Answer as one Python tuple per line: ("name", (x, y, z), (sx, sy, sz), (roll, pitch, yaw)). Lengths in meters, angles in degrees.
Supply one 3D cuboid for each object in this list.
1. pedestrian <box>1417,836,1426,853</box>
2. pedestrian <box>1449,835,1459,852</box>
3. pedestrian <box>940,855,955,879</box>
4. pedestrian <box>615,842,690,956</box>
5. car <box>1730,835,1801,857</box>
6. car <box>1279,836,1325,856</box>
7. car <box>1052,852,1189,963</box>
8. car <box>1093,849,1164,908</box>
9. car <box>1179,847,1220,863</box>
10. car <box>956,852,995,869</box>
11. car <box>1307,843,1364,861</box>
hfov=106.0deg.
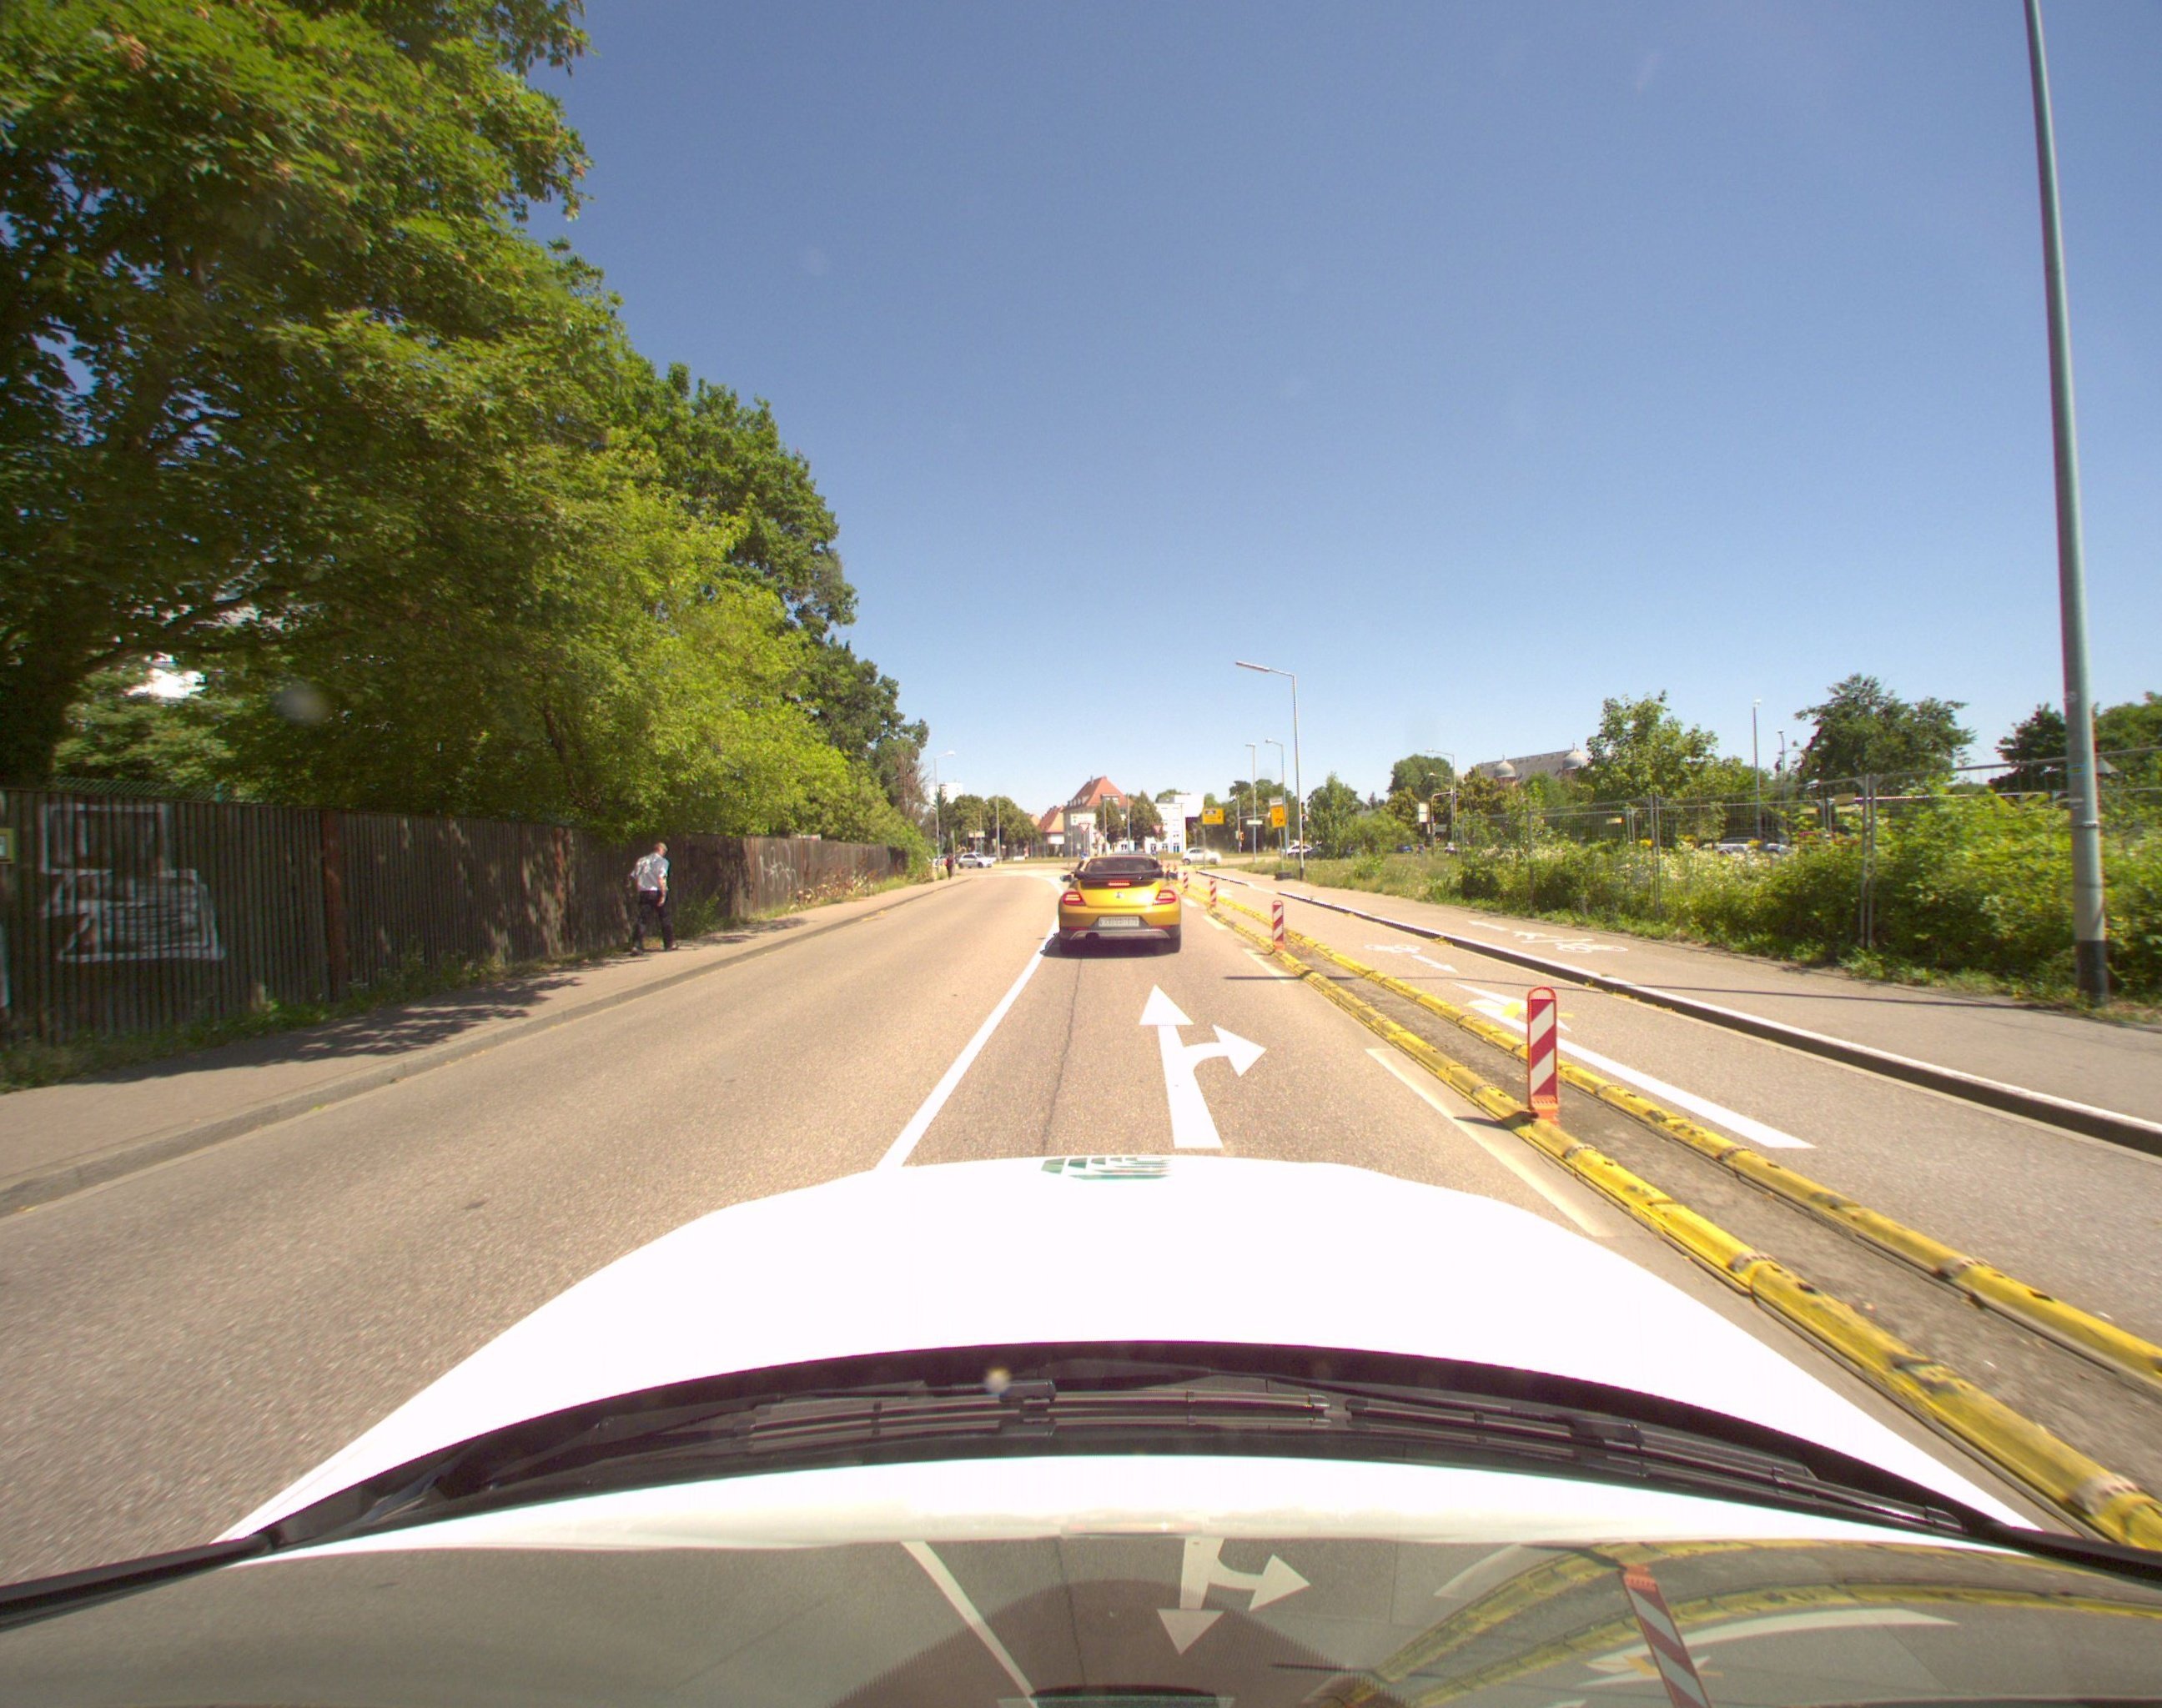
("pedestrian", (26.550, -0.731, 63.497), (0.597, 1.311, 0.549), (-2, 0, 23))
("pedestrian", (28.329, -0.803, 61.879), (0.539, 1.311, 0.608), (-2, 0, 34))
("pedestrian", (-8.214, 0.777, 50.108), (0.720, 1.454, 0.817), (-2, 0, -2))
("pedestrian", (-6.784, 0.696, 12.927), (0.720, 1.725, 0.817), (-2, 0, -2))
("car", (44.630, -0.520, 53.135), (3.424, 1.318, 1.331), (-2, 0, 43))
("car", (20.907, -0.746, 77.128), (4.047, 1.744, 1.571), (-2, 0, 10))
("car", (0.567, 0.714, 12.826), (1.784, 1.436, 3.814), (-2, 0, 1))
("car", (1.271, 0.614, 22.478), (1.720, 1.443, 4.002), (-2, 0, 2))
("car", (10.453, 0.095, 71.678), (3.415, 1.275, 1.206), (-2, 0, 11))
("car", (-10.806, 0.692, 83.351), (3.661, 1.571, 1.693), (-2, 0, 29))
("car", (21.574, -0.184, 69.081), (4.415, 1.358, 1.541), (-2, 0, 8))
